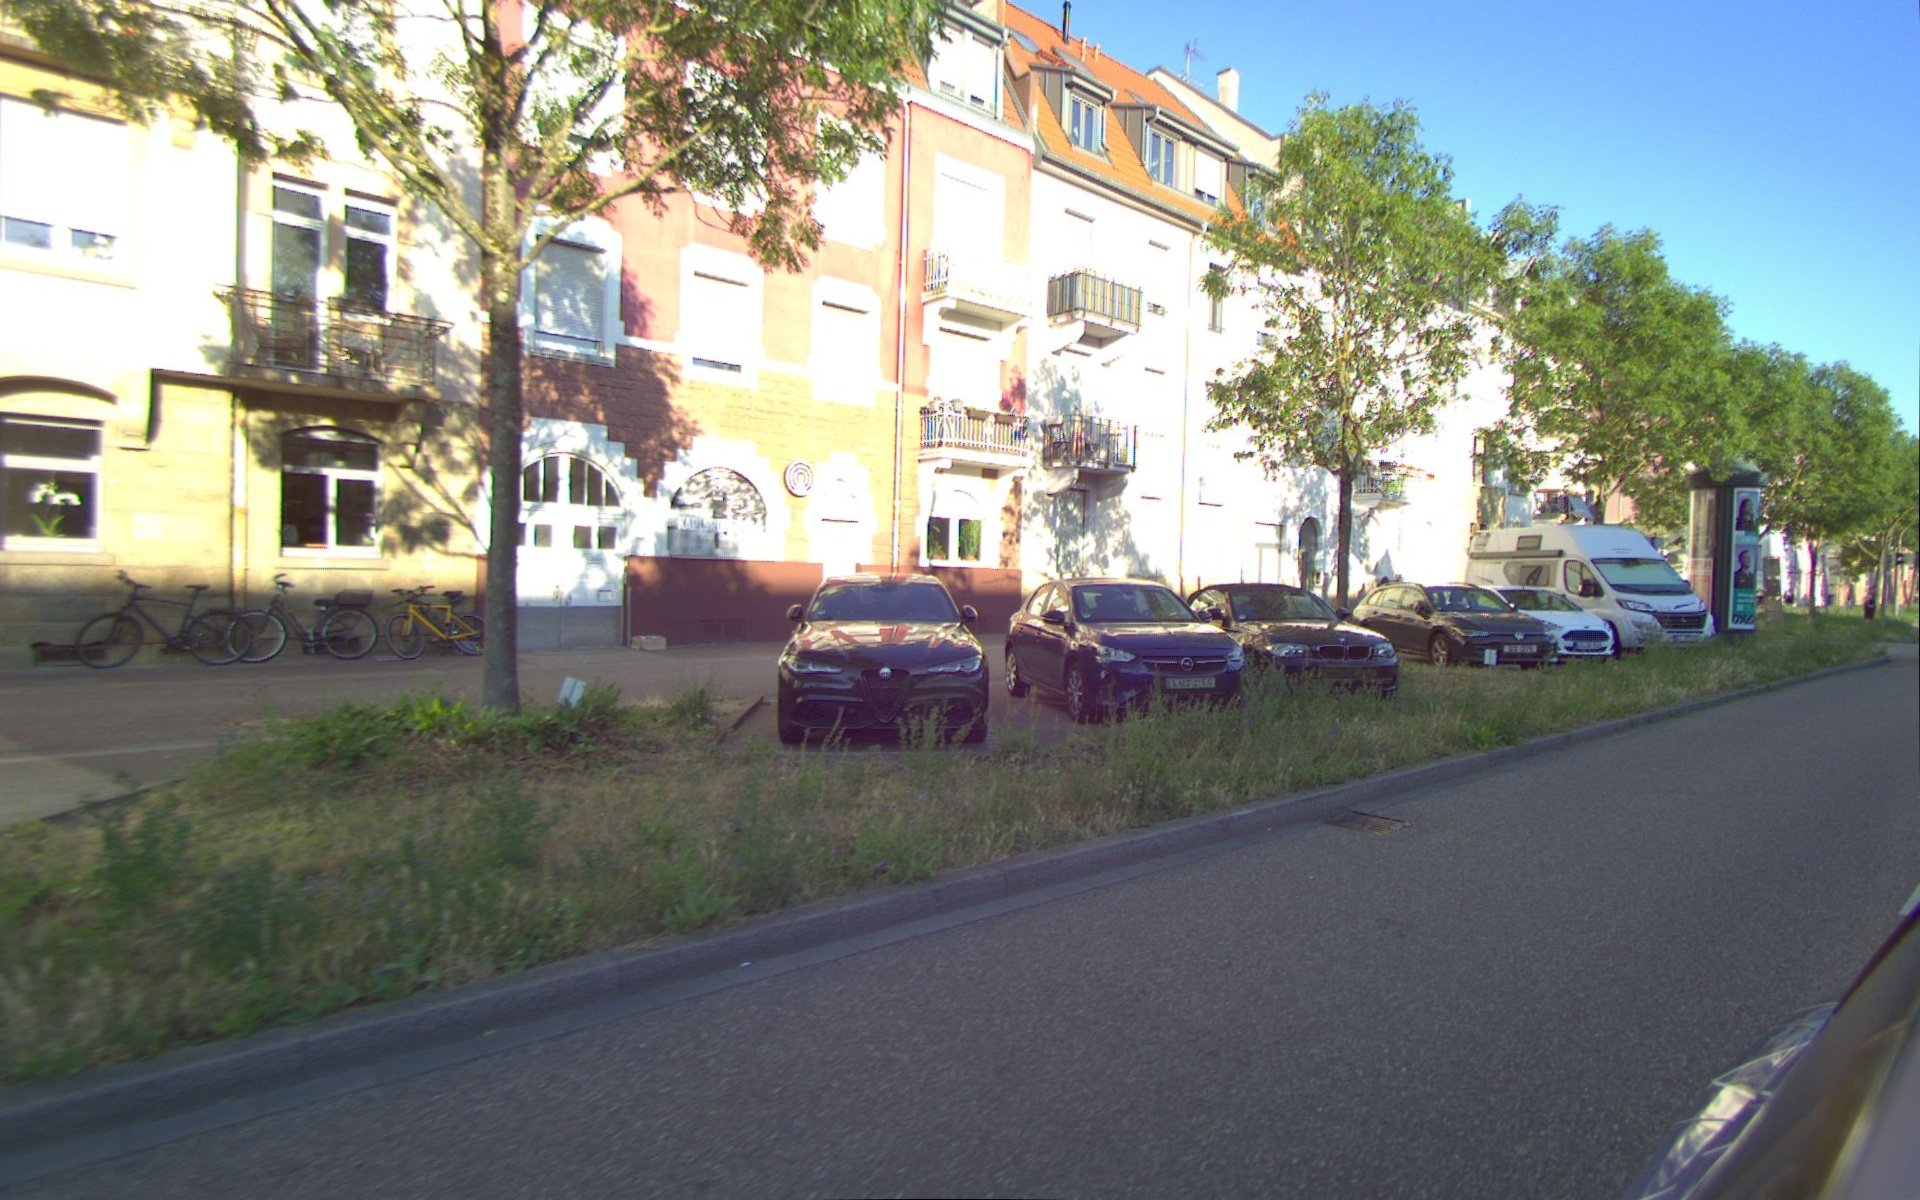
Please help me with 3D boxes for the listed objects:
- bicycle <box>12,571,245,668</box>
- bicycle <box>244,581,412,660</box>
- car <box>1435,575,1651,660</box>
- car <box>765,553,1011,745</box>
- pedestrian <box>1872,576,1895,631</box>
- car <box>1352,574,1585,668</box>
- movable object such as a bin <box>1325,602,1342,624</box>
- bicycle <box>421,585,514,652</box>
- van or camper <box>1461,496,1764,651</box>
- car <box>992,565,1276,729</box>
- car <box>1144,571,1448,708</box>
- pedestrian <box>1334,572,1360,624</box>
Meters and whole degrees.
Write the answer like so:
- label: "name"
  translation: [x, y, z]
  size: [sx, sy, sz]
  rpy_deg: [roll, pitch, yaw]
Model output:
- label: "bicycle"
  translation: [-10.264, 0.218, 12.584]
  size: [2.189, 1.092, 0.589]
  rpy_deg: [0, 3, -41]
- label: "bicycle"
  translation: [-8.688, 0.257, 13.961]
  size: [1.894, 1.003, 0.580]
  rpy_deg: [0, 2, -41]
- label: "car"
  translation: [11.078, 0.255, 19.586]
  size: [1.761, 1.420, 3.926]
  rpy_deg: [1, 2, -2]
- label: "car"
  translation: [-0.699, 0.346, 9.926]
  size: [1.848, 1.434, 4.440]
  rpy_deg: [1, 1, -4]
- label: "pedestrian"
  translation: [34.611, 0.126, 37.938]
  size: [0.588, 2.039, 0.513]
  rpy_deg: [0, 1, -40]
- label: "car"
  translation: [8.757, 0.276, 17.899]
  size: [1.761, 1.420, 4.280]
  rpy_deg: [1, 2, -3]
- label: "movable object such as a bin"
  translation: [11.362, 0.383, 30.791]
  size: [0.595, 0.662, 0.214]
  rpy_deg: [0, 1, -42]
- label: "bicycle"
  translation: [-7.428, 0.265, 15.281]
  size: [1.197, 0.973, 0.419]
  rpy_deg: [0, 2, -41]
- label: "van or camper"
  translation: [13.561, -0.569, 21.653]
  size: [2.159, 2.847, 5.661]
  rpy_deg: [1, 2, -9]
- label: "car"
  translation: [1.664, 0.371, 11.160]
  size: [1.691, 1.455, 4.061]
  rpy_deg: [0, 1, -12]
- label: "car"
  translation: [3.999, 0.400, 12.981]
  size: [1.883, 1.441, 4.443]
  rpy_deg: [1, 1, -8]
- label: "pedestrian"
  translation: [11.879, -0.074, 31.094]
  size: [0.571, 1.559, 0.508]
  rpy_deg: [0, 1, -42]
